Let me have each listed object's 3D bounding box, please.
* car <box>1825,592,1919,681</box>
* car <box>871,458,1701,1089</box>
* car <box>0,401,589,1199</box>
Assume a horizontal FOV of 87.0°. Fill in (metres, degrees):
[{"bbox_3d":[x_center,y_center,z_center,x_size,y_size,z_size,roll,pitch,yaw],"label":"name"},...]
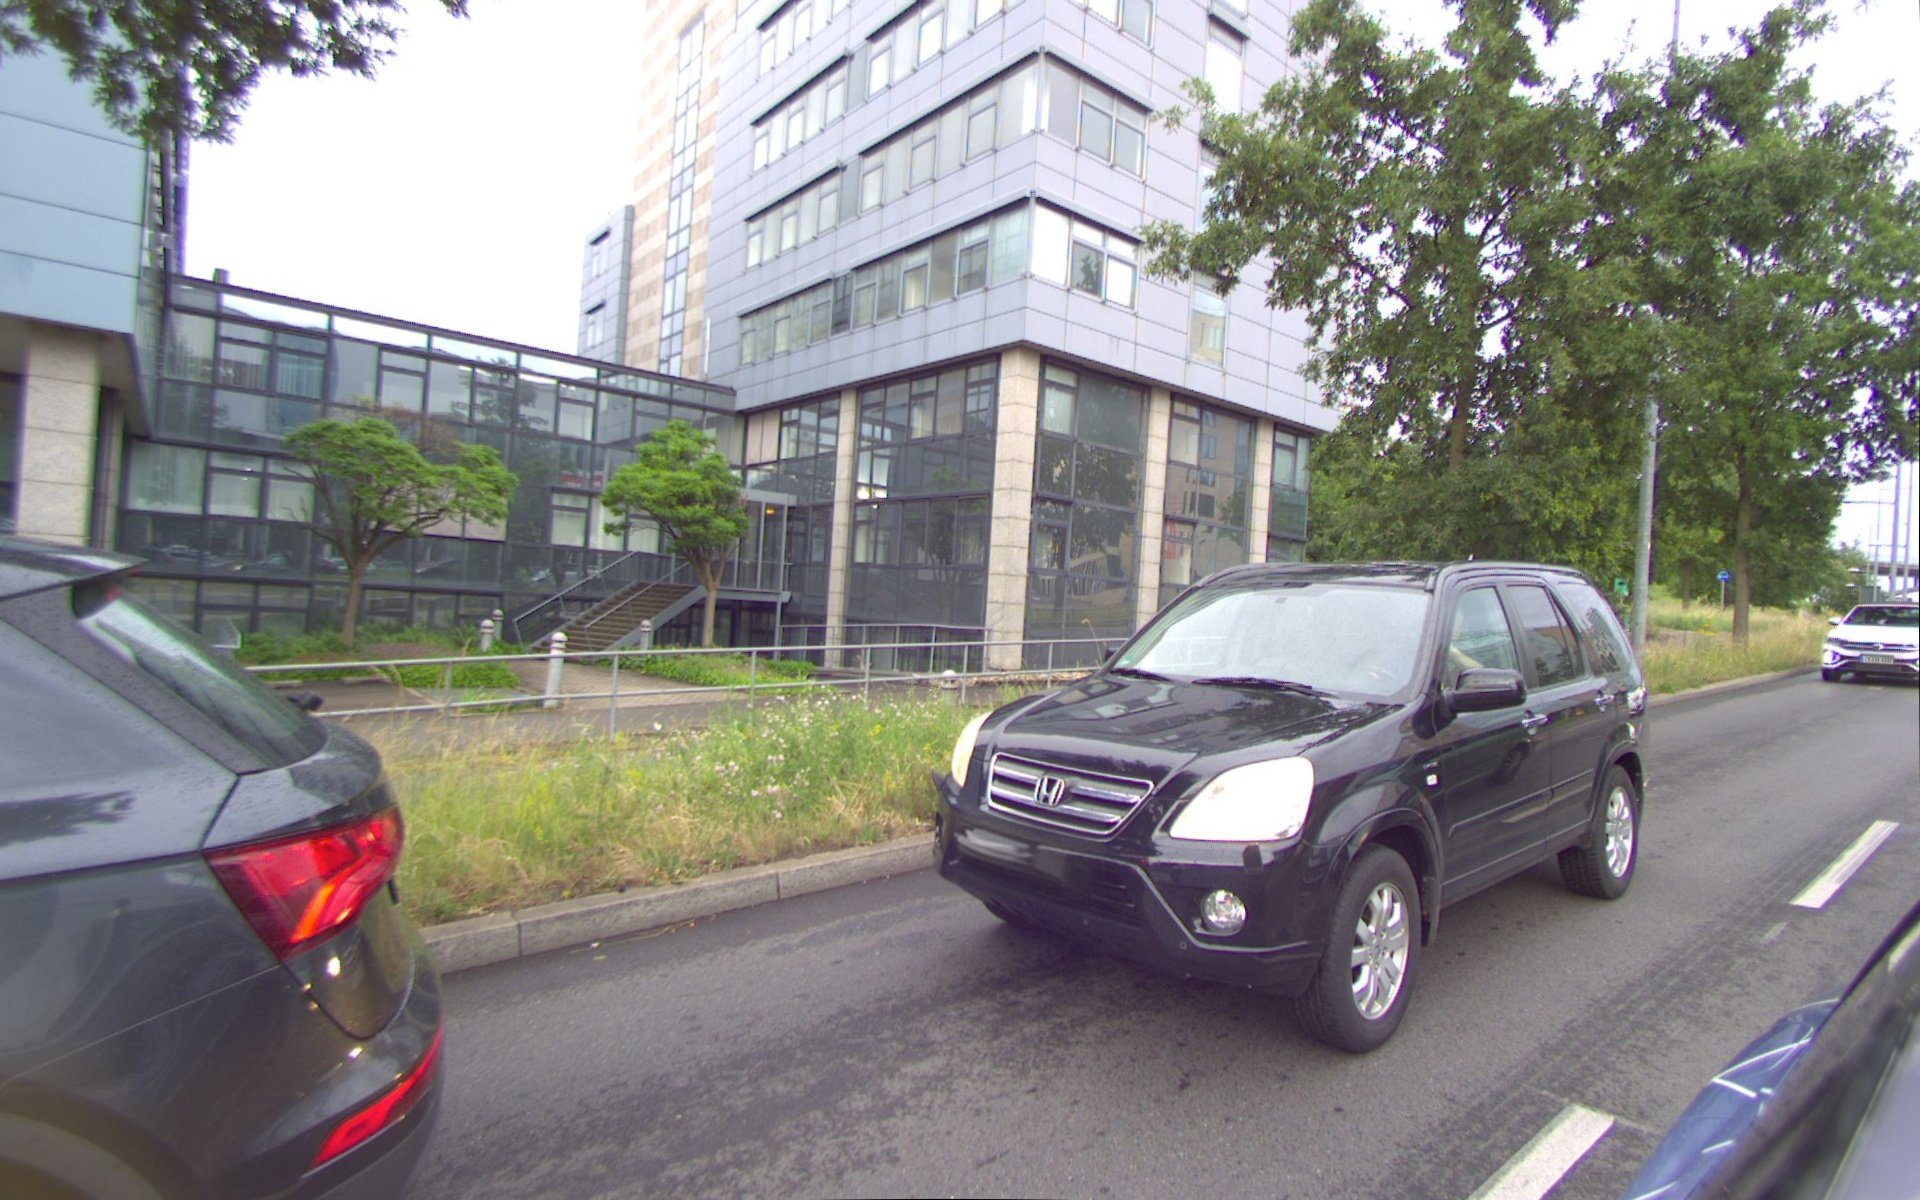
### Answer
[{"bbox_3d":[17.867,0.637,19.009,3.698,1.522,1.827,0,1,-39],"label":"car"},{"bbox_3d":[1.828,0.442,4.764,4.262,1.679,1.758,0,1,-41],"label":"car"},{"bbox_3d":[-2.903,0.543,1.029,4.392,1.633,1.821,0,1,-41],"label":"car"}]
